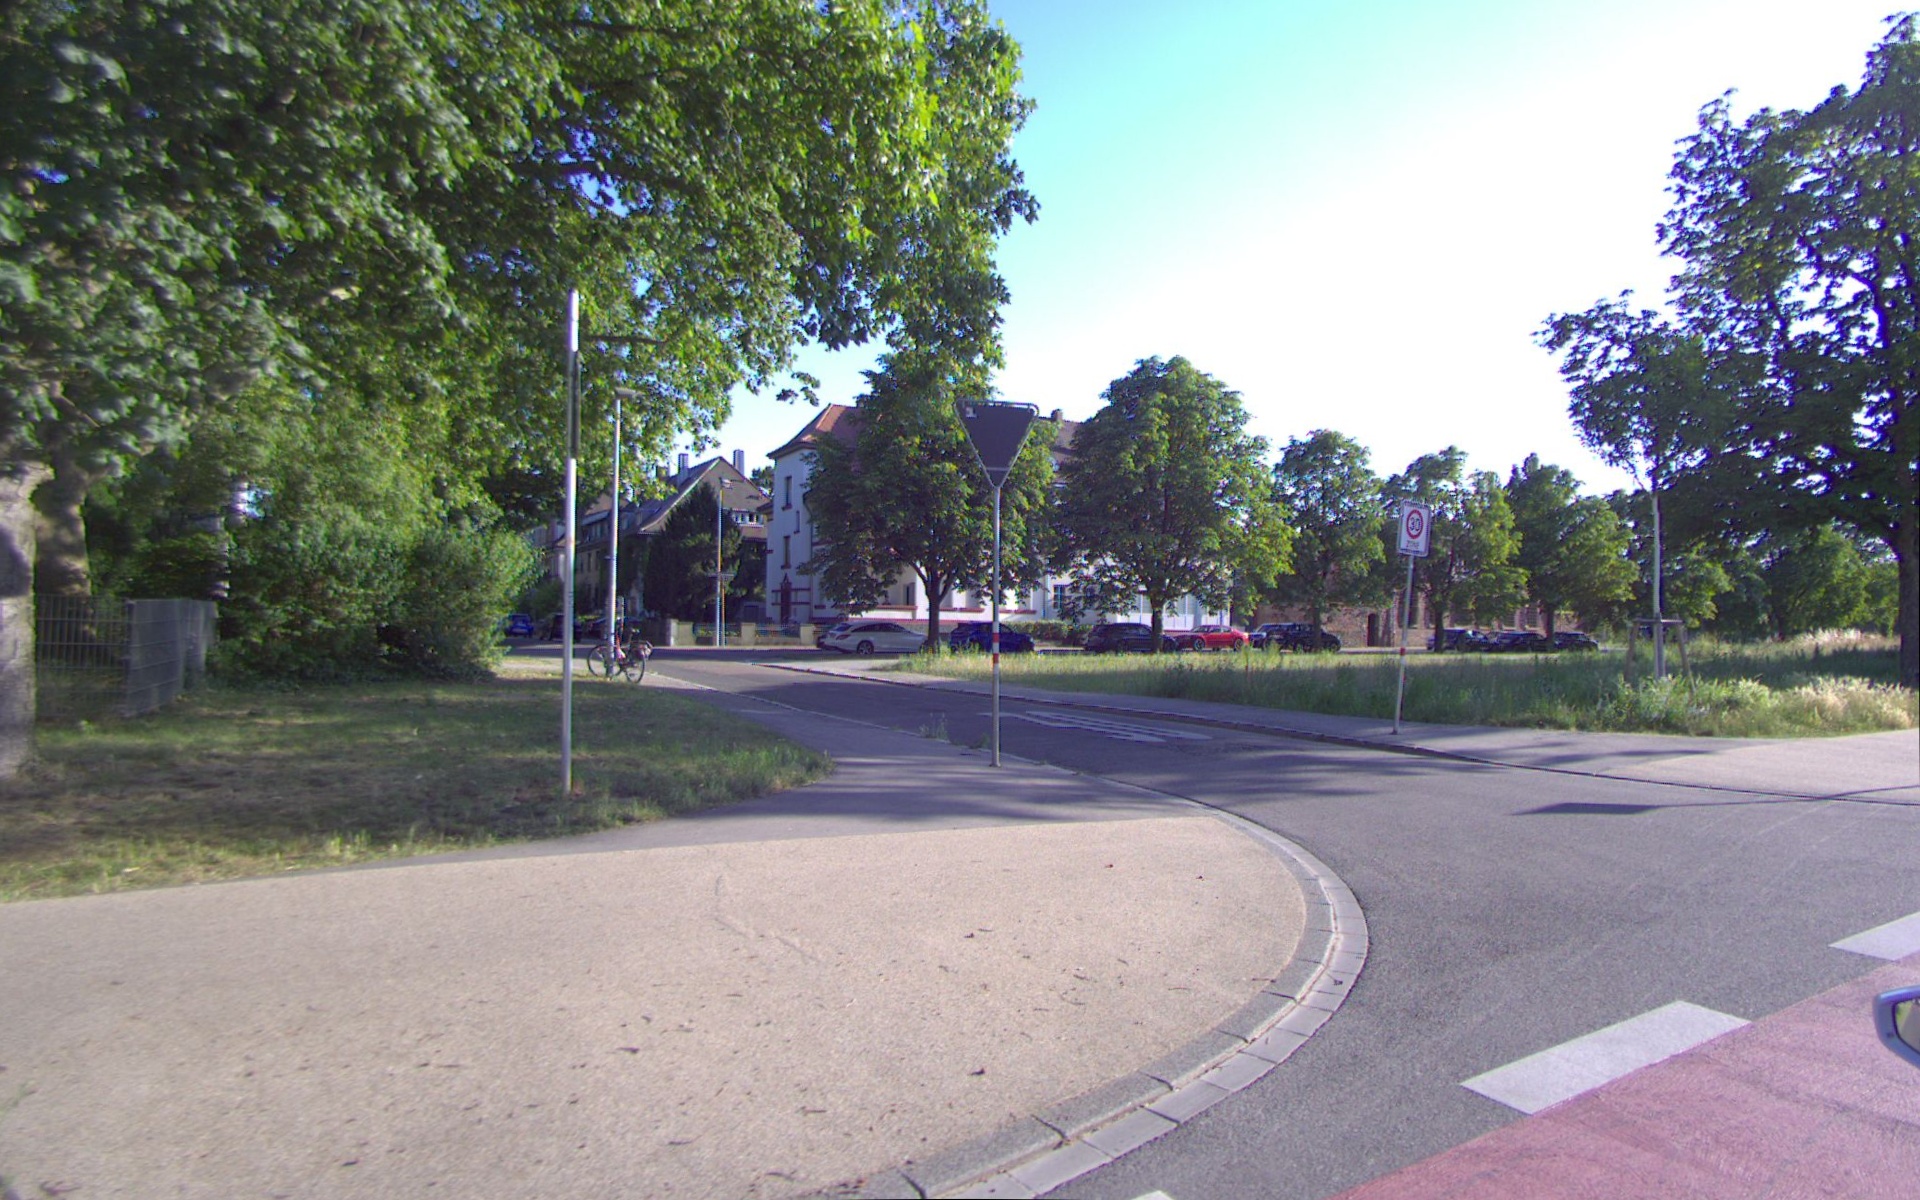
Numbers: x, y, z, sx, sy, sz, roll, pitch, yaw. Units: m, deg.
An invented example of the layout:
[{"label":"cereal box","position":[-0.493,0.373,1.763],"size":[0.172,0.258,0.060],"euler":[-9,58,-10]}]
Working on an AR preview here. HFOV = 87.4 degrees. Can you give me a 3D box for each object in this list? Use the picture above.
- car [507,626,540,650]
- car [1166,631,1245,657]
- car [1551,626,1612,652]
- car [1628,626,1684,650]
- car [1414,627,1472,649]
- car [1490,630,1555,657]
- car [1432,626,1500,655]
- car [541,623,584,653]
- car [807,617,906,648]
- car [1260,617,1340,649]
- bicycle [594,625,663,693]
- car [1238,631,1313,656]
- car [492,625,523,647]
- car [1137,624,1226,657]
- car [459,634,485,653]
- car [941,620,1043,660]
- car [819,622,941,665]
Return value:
[{"label":"car","position":[-29.870,2.588,68.655],"size":[1.810,1.576,3.972],"euler":[1,-1,-28]},{"label":"car","position":[13.732,2.462,56.129],"size":[4.424,1.350,1.563],"euler":[2,0,-29]},{"label":"car","position":[40.658,2.557,65.711],"size":[4.172,1.619,1.684],"euler":[1,-1,-31]},{"label":"car","position":[49.235,2.676,71.040],"size":[4.172,1.619,1.684],"euler":[1,-1,-31]},{"label":"car","position":[32.681,2.549,67.905],"size":[3.953,1.424,1.621],"euler":[1,-1,-30]},{"label":"car","position":[35.161,2.714,62.800],"size":[4.172,1.619,1.684],"euler":[1,-1,-31]},{"label":"car","position":[30.262,2.415,60.028],"size":[4.172,1.619,1.684],"euler":[1,-1,-31]},{"label":"car","position":[-21.739,2.036,54.875],"size":[1.810,1.576,3.972],"euler":[1,-1,-28]},{"label":"car","position":[-4.664,1.477,45.636],"size":[4.176,1.332,1.683],"euler":[2,-1,-33]},{"label":"car","position":[17.905,1.721,52.804],"size":[4.172,1.619,1.684],"euler":[1,-1,-31]},{"label":"bicycle","position":[-6.296,1.101,19.046],"size":[1.564,1.202,0.418],"euler":[0,-2,39]},{"label":"car","position":[18.526,2.538,58.847],"size":[4.424,1.350,1.563],"euler":[2,0,-29]},{"label":"car","position":[-33.221,2.632,73.696],"size":[1.810,1.576,3.972],"euler":[1,-1,-28]},{"label":"car","position":[10.630,1.926,48.195],"size":[4.174,1.496,1.683],"euler":[2,-1,-32]},{"label":"car","position":[-44.905,3.976,92.380],"size":[1.813,1.576,3.966],"euler":[1,-1,-31]},{"label":"car","position":[1.404,1.705,43.286],"size":[4.176,1.619,1.683],"euler":[2,-1,-33]},{"label":"car","position":[-3.204,1.745,40.638],"size":[4.705,1.619,1.683],"euler":[2,-1,-33]}]
